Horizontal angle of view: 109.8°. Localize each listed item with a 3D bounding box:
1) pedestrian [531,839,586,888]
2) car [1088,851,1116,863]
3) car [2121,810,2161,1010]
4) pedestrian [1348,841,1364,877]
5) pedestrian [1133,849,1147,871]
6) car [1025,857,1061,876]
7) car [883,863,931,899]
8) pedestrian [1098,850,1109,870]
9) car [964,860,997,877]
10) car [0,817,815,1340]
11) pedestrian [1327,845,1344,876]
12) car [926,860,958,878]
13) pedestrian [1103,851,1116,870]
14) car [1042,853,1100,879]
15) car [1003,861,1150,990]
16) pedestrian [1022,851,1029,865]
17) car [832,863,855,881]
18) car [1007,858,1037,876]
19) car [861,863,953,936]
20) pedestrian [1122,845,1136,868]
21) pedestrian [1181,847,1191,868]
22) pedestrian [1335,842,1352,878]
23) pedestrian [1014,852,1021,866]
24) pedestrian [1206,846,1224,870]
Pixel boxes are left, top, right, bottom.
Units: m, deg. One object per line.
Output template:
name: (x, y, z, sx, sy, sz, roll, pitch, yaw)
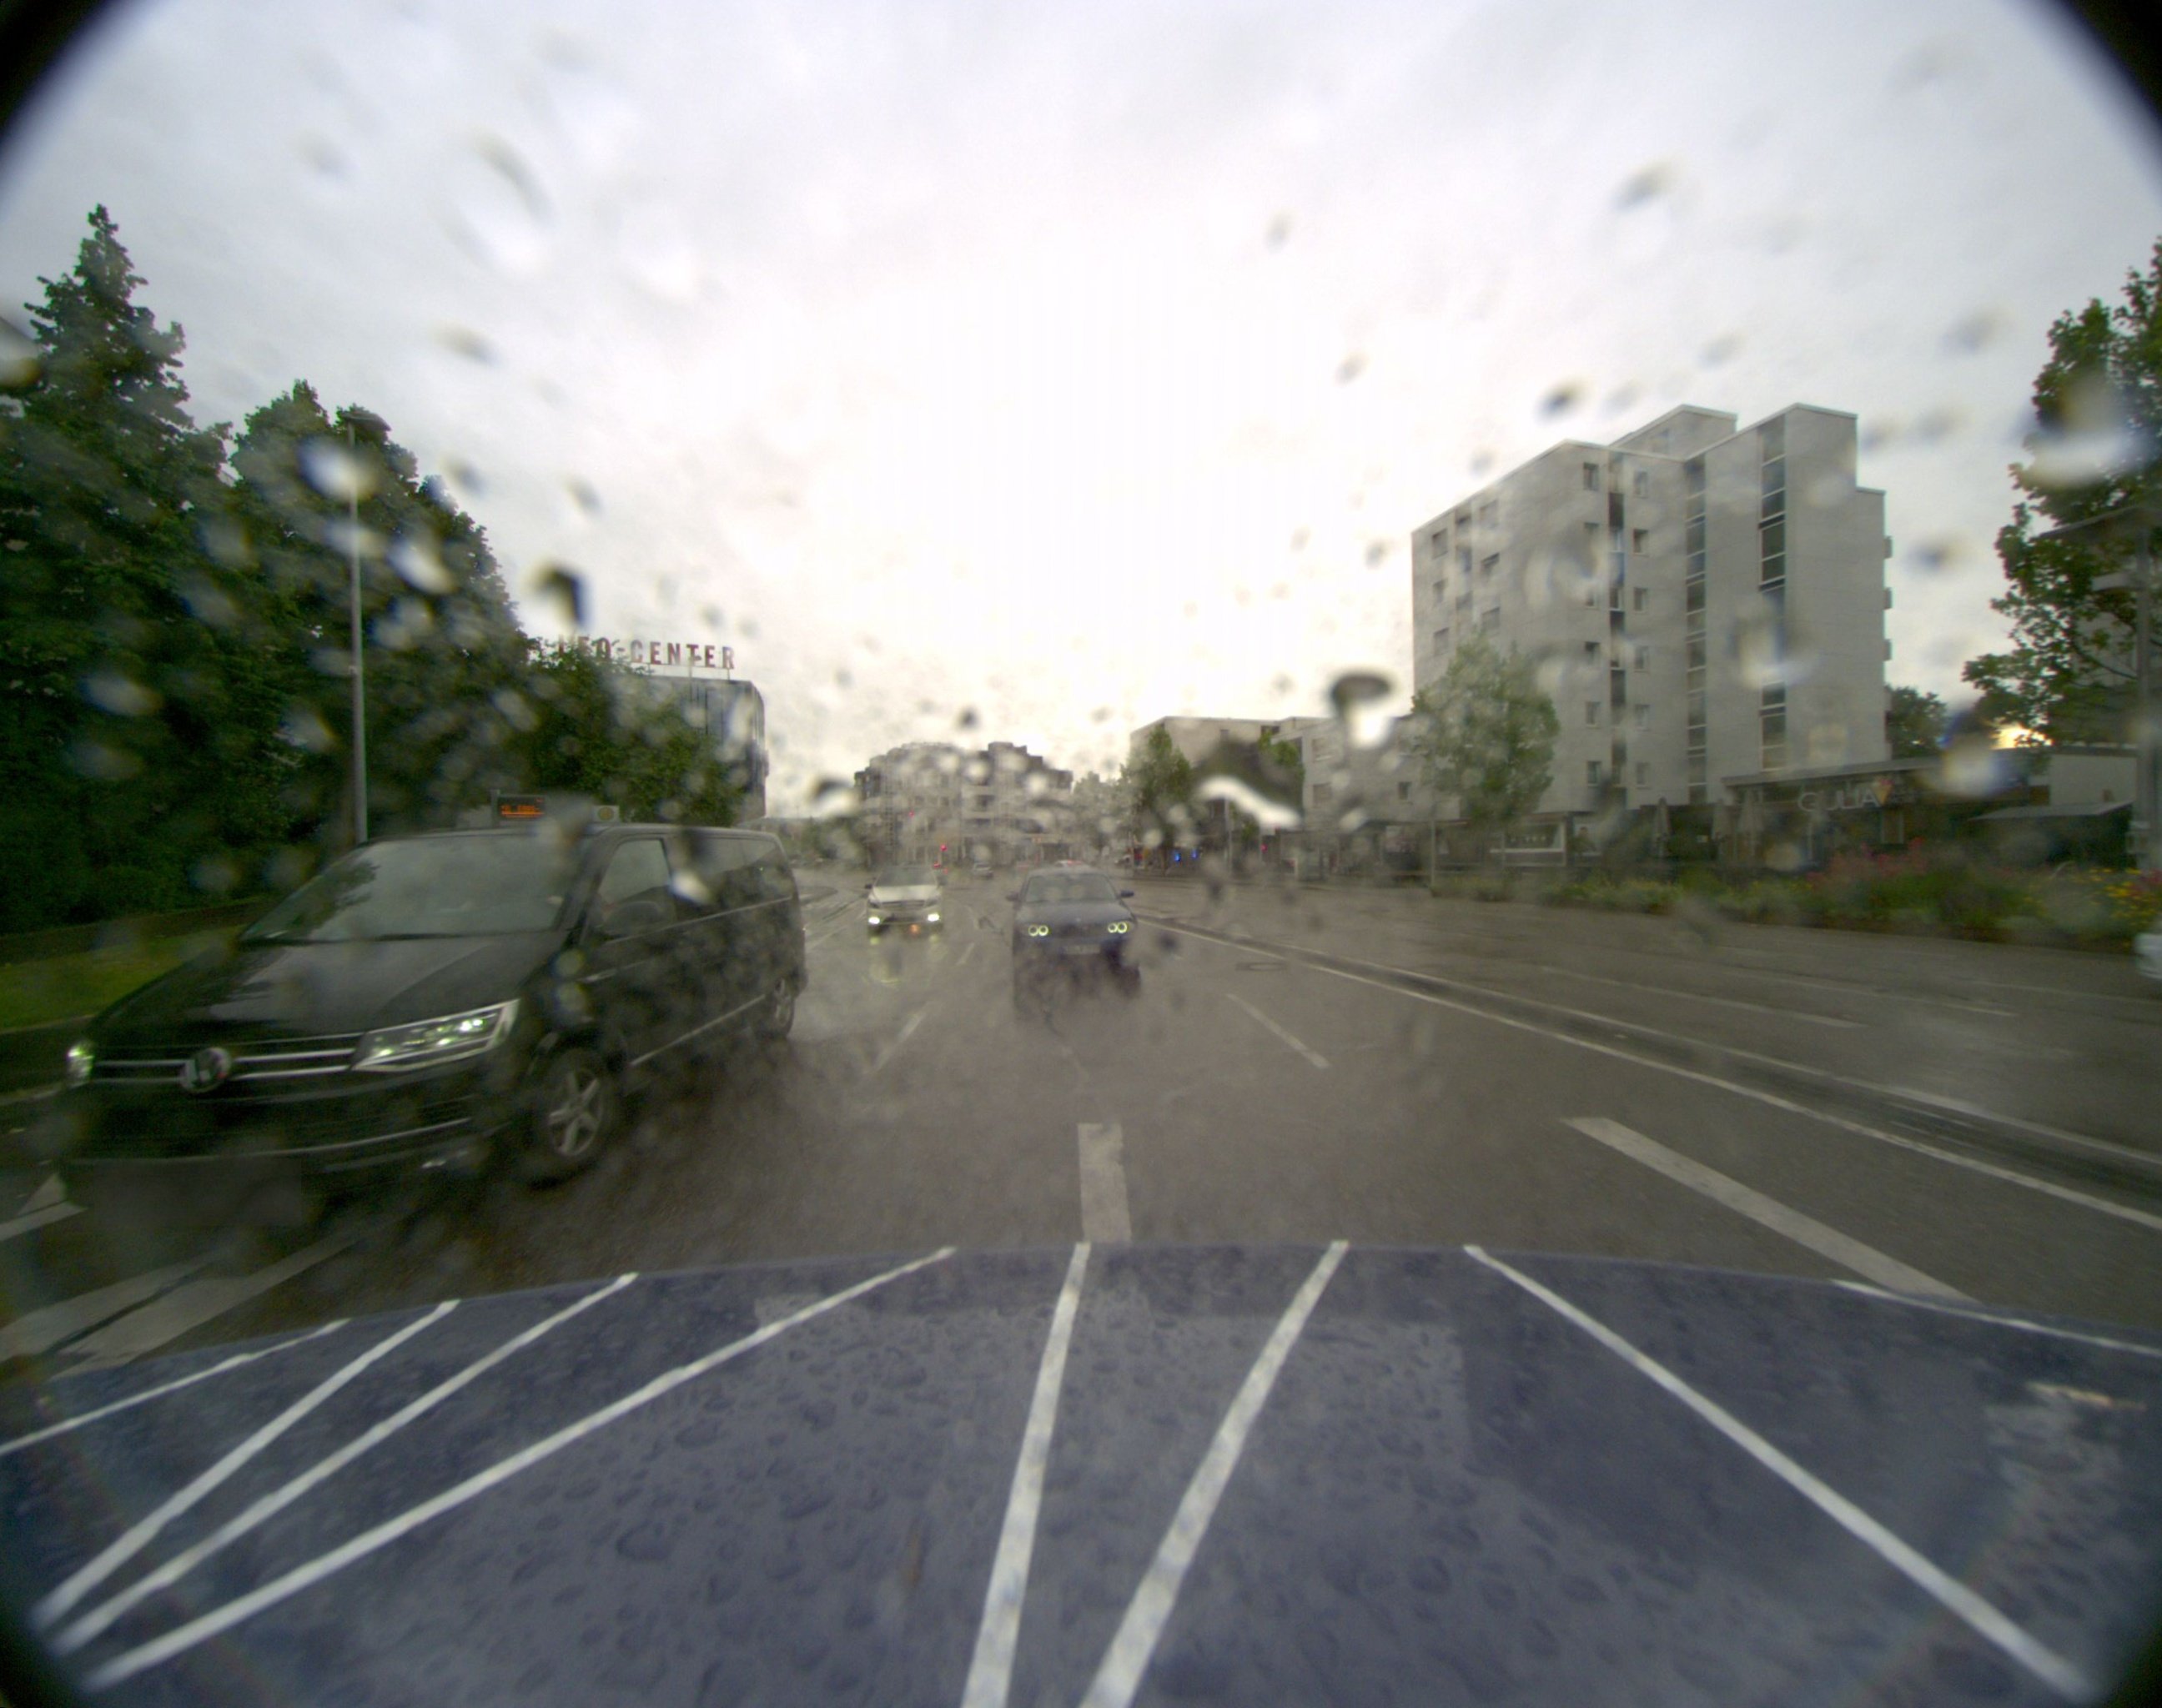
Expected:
pedestrian: (-13.846, 0.247, 20.161, 1.034, 1.274, 0.691, 1, 0, -18)
car: (3.262, 0.527, 116.771, 3.902, 1.710, 1.743, -2, 0, -34)
car: (10.022, 0.439, 4.350, 1.891, 1.672, 4.504, -2, 0, -2)
pedestrian: (12.884, 0.238, 35.608, 0.537, 1.649, 0.479, -2, 1, -10)
pedestrian: (5.329, 0.529, 68.490, 0.906, 2.002, 0.976, -2, 0, -17)
car: (-3.041, 0.968, 59.439, 1.764, 1.418, 3.994, -2, -1, -19)
car: (-7.825, 1.163, 34.005, 1.635, 1.481, 3.833, -2, 0, -19)
pedestrian: (2.207, 0.603, 74.851, 0.906, 1.904, 0.977, -2, 0, -12)
car: (-8.622, 1.218, 65.112, 1.707, 1.457, 4.095, -1, 0, -24)
car: (-3.578, 0.818, 5.102, 2.001, 1.883, 4.585, -2, 1, -1)
pedestrian: (12.644, 0.324, 37.750, 0.537, 1.496, 0.614, -2, 1, -39)
car: (-11.700, 1.277, 63.643, 1.765, 1.442, 3.993, -2, -1, -23)
pedestrian: (2.829, 0.648, 74.864, 0.906, 1.904, 0.976, -2, 0, -17)
car: (-0.664, 0.707, 45.567, 1.850, 1.452, 4.800, -2, 0, -22)
car: (-0.242, 0.907, 11.375, 1.677, 1.534, 3.911, -2, -1, -7)
pedestrian: (-6.881, 0.480, 94.303, 0.683, 1.733, 0.585, -2, 1, 9)
car: (-23.324, 1.725, 74.501, 1.740, 1.586, 3.993, -2, 0, -22)
car: (-5.242, 1.122, 67.004, 1.764, 1.418, 4.881, -2, 0, -15)
car: (-4.279, 1.044, 19.321, 1.763, 1.540, 4.324, -1, 0, -6)
pedestrian: (4.283, 0.255, 68.028, 0.906, 2.002, 0.976, -2, 0, -17)
pedestrian: (8.709, 0.261, 63.158, 0.550, 1.740, 0.680, -2, 0, -14)
pedestrian: (12.215, 0.265, 35.346, 0.480, 1.649, 0.536, -2, 1, -15)
pedestrian: (-7.744, 0.633, 92.621, 0.839, 1.733, 0.584, -3, 1, -11)
pedestrian: (9.617, 0.293, 54.565, 1.011, 1.636, 0.725, -2, 1, -17)
